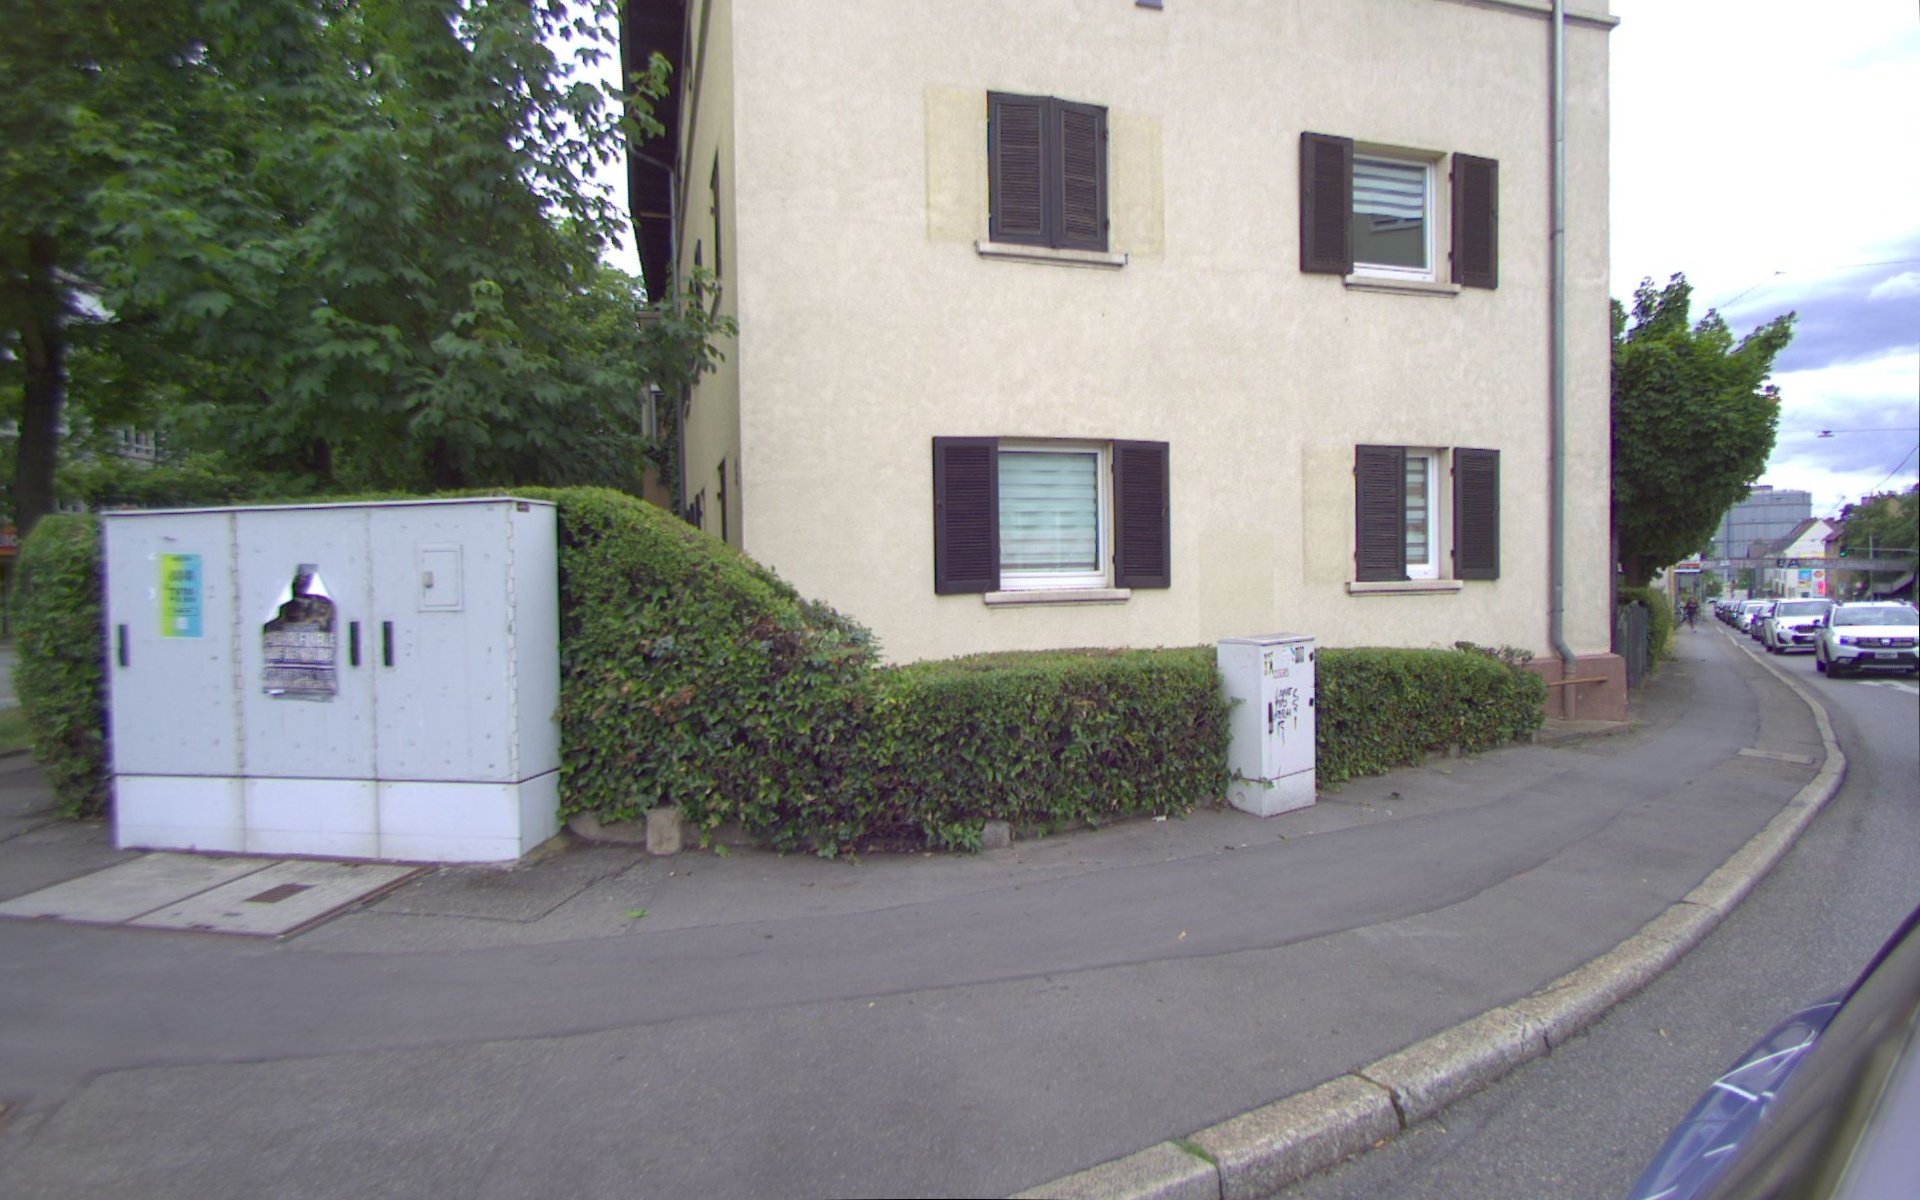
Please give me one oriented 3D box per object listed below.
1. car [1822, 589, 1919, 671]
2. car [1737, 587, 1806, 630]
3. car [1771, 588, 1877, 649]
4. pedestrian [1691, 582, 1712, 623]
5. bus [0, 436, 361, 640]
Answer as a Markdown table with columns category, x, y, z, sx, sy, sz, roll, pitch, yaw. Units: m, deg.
| category | x | y | z | sx | sy | sz | roll | pitch | yaw |
| --- | --- | --- | --- | --- | --- | --- | --- | --- | --- |
| car | 19.086 | 0.564 | 20.782 | 1.890 | 1.529 | 4.110 | -2 | -1 | 38 |
| car | 33.010 | 0.311 | 41.258 | 1.888 | 1.601 | 3.951 | 2 | 2 | 35 |
| car | 25.484 | 0.489 | 29.979 | 1.887 | 1.665 | 3.952 | 0 | 0 | 33 |
| pedestrian | 34.737 | 0.117 | 47.400 | 0.639 | 1.864 | 0.589 | 0 | 0 | 19 |
| bus | -30.573 | -2.061 | 41.255 | 4.456 | 6.487 | 17.899 | 0 | 1 | -10 |
